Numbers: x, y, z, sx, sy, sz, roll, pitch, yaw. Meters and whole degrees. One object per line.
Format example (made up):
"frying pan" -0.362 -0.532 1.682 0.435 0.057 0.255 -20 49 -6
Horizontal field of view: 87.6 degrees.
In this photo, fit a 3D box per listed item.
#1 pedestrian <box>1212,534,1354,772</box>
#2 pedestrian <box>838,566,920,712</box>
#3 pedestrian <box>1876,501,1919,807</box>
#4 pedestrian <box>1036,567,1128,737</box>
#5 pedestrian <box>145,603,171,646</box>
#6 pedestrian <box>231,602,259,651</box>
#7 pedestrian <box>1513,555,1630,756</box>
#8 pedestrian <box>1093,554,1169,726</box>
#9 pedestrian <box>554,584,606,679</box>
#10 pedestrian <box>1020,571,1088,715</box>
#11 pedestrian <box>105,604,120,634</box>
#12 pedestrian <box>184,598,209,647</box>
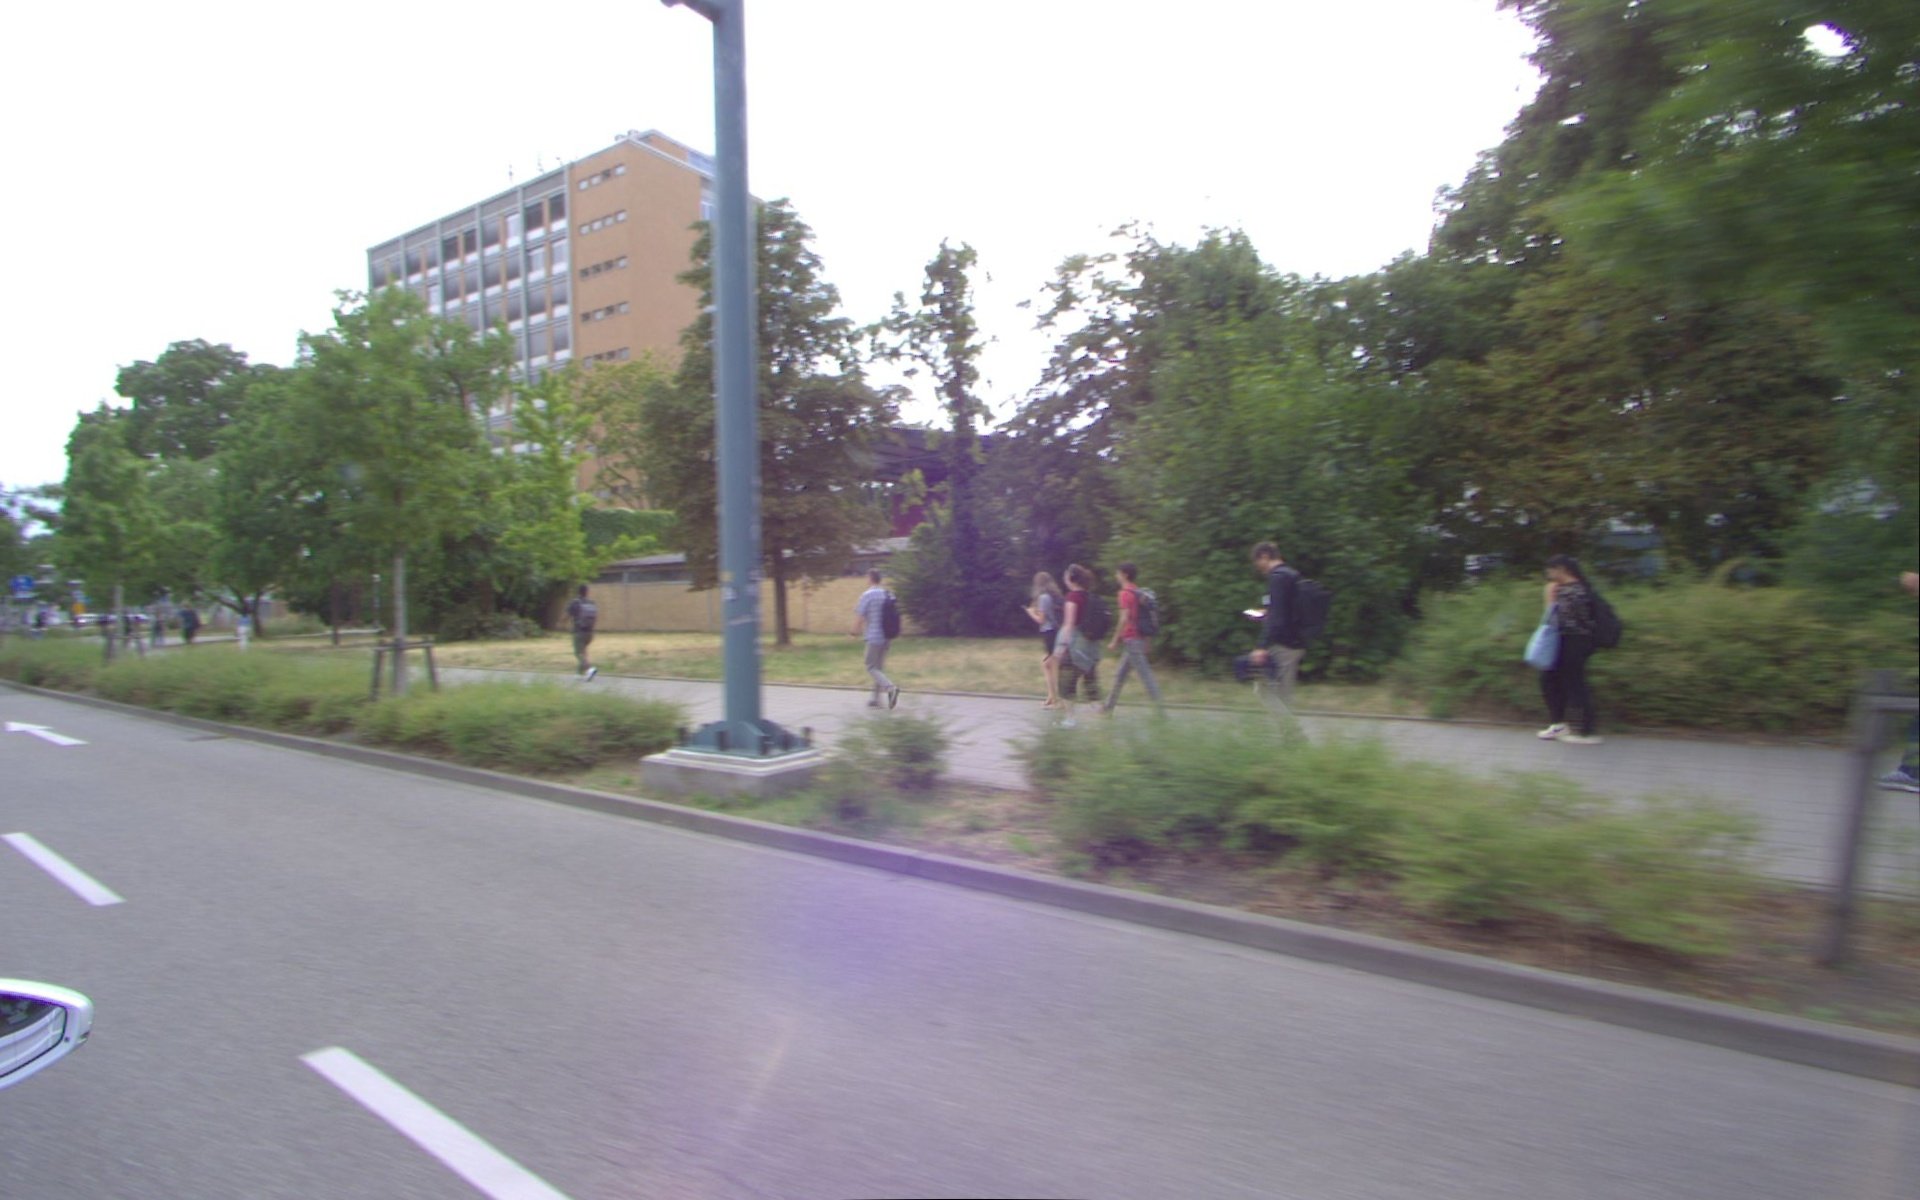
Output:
"pedestrian" 2.685 0.411 8.330 0.942 1.846 0.690 0 1 39
"pedestrian" -1.023 0.472 12.615 0.804 1.759 0.616 0 1 39
"pedestrian" 6.183 0.322 6.123 0.802 1.846 0.653 0 1 39
"pedestrian" 1.255 0.511 10.307 0.744 1.677 0.553 0 1 39
"pedestrian" -33.012 1.017 41.237 0.795 1.736 0.759 -2 1 -39
"pedestrian" -22.488 0.828 31.503 0.650 1.490 0.558 -2 1 -35
"pedestrian" 5.170 0.440 8.467 0.775 1.605 0.633 0 1 39
"pedestrian" 1.843 0.411 10.785 0.656 1.787 0.482 0 2 39
"pedestrian" -7.025 0.569 18.522 0.739 1.705 0.585 0 1 39
"pedestrian" 1.111 0.497 11.879 0.645 1.655 0.466 0 2 39
"pedestrian" -57.885 1.282 68.393 0.589 2.040 0.612 0 1 37
"pedestrian" -27.164 0.799 35.637 0.640 1.736 0.557 -2 2 -37
